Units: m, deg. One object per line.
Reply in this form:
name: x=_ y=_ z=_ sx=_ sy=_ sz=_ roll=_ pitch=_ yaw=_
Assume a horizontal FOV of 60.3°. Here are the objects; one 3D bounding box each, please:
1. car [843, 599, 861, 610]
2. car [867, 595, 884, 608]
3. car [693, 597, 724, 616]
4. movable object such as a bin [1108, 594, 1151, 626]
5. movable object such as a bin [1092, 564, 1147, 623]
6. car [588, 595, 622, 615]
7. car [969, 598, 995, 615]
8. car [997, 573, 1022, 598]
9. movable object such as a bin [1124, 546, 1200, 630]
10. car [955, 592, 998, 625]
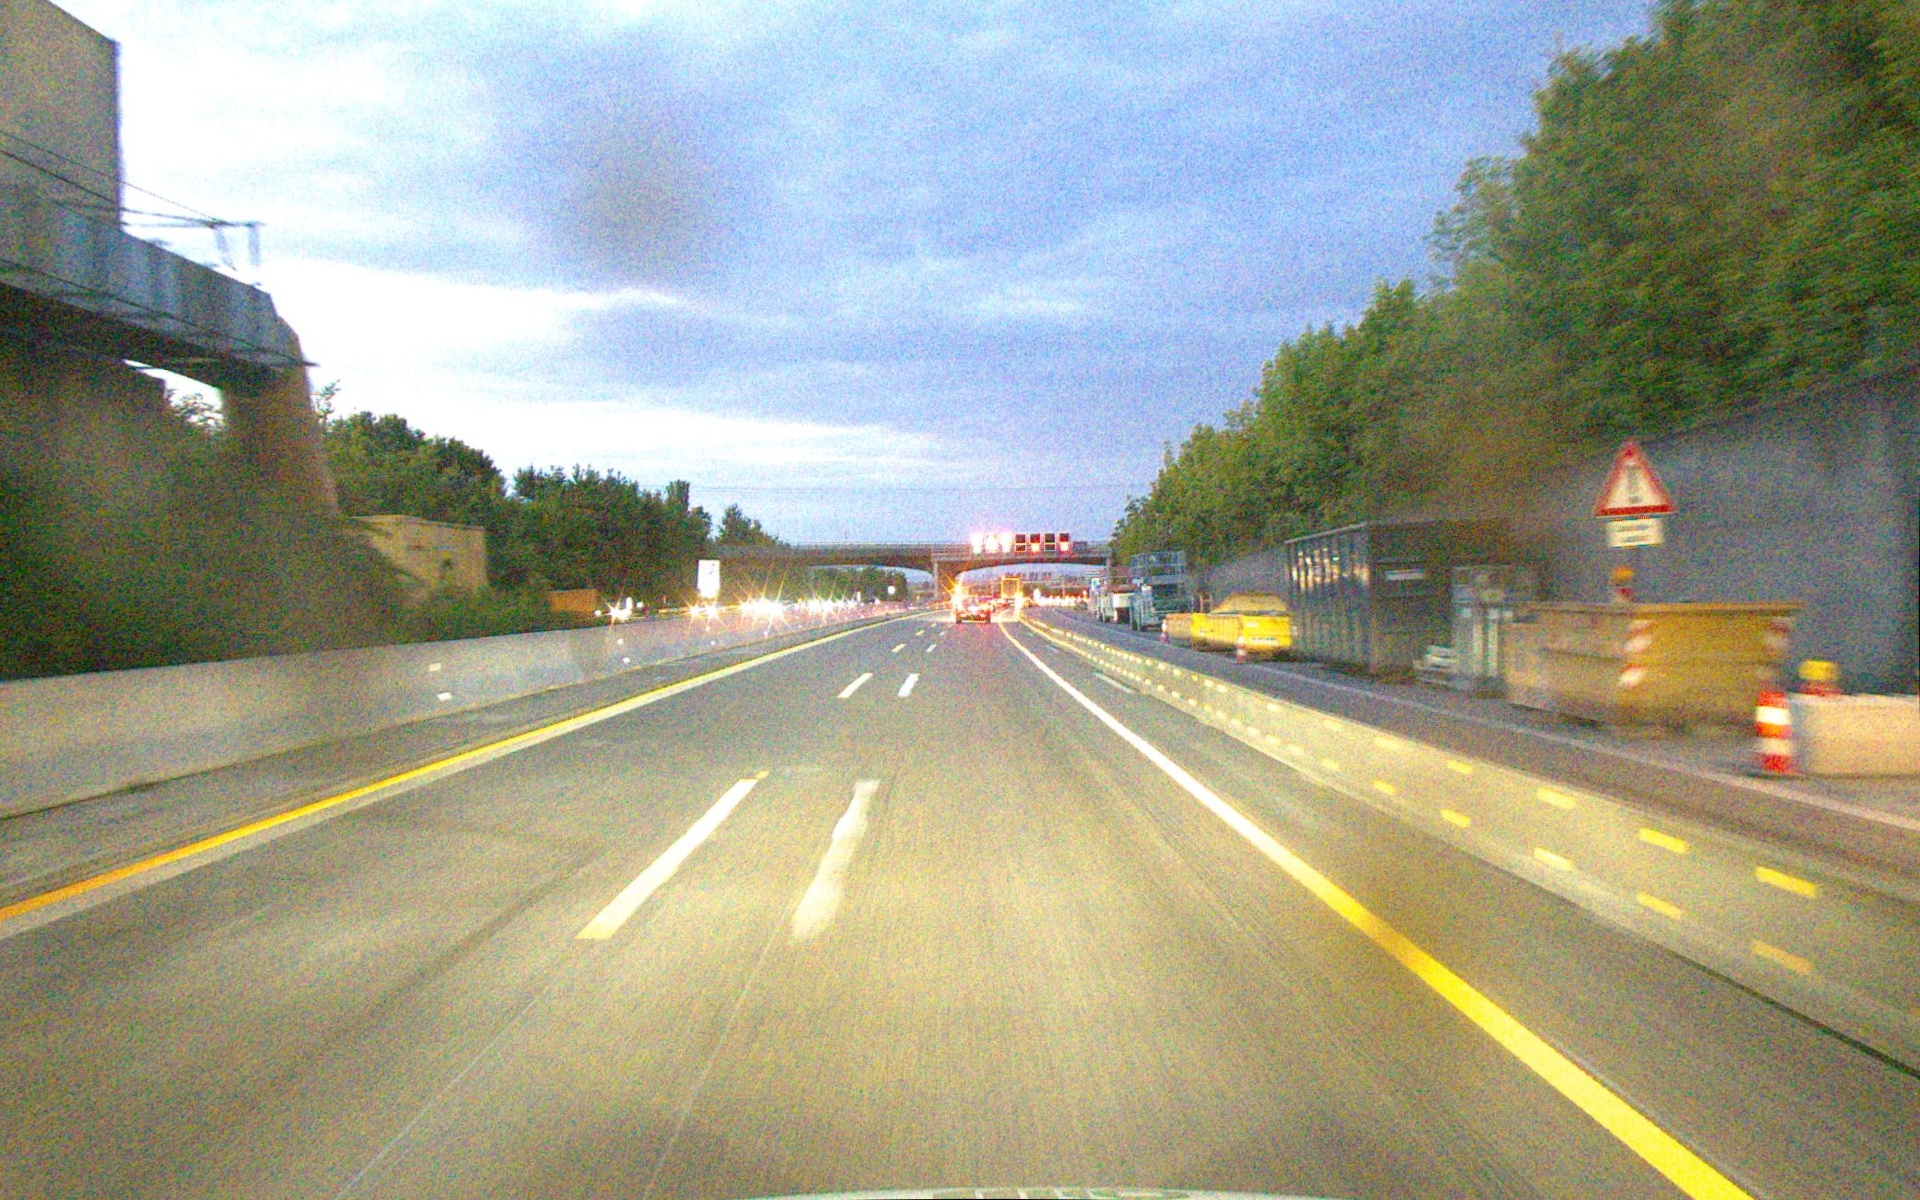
car: x=-14.654 y=0.606 z=224.703 sx=1.772 sy=1.511 sz=4.703 roll=1 pitch=0 yaw=3
car: x=-11.555 y=0.243 z=226.035 sx=1.861 sy=1.768 sz=4.809 roll=1 pitch=0 yaw=3
car: x=-21.511 y=0.554 z=141.585 sx=1.638 sy=1.495 sz=4.648 roll=1 pitch=0 yaw=3
movable object such as a bin: x=9.006 y=0.527 z=88.310 sx=1.952 sy=1.629 sz=4.085 roll=-2 pitch=-1 yaw=1
movable object such as a bin: x=8.939 y=-0.335 z=93.277 sx=2.567 sy=3.162 sz=5.806 roll=-1 pitch=0 yaw=0
car: x=-27.522 y=0.407 z=128.289 sx=1.544 sy=1.495 sz=4.227 roll=1 pitch=0 yaw=3
car: x=1.985 y=0.581 z=149.101 sx=1.930 sy=1.462 sz=4.003 roll=1 pitch=0 yaw=6
car: x=7.288 y=-2.130 z=241.356 sx=3.530 sy=3.455 sz=8.016 roll=1 pitch=0 yaw=2
movable object such as a bin: x=8.526 y=-0.482 z=70.321 sx=2.511 sy=3.376 sz=5.579 roll=-1 pitch=0 yaw=0
car: x=0.867 y=0.446 z=88.183 sx=2.219 sy=1.650 sz=4.000 roll=1 pitch=0 yaw=0
